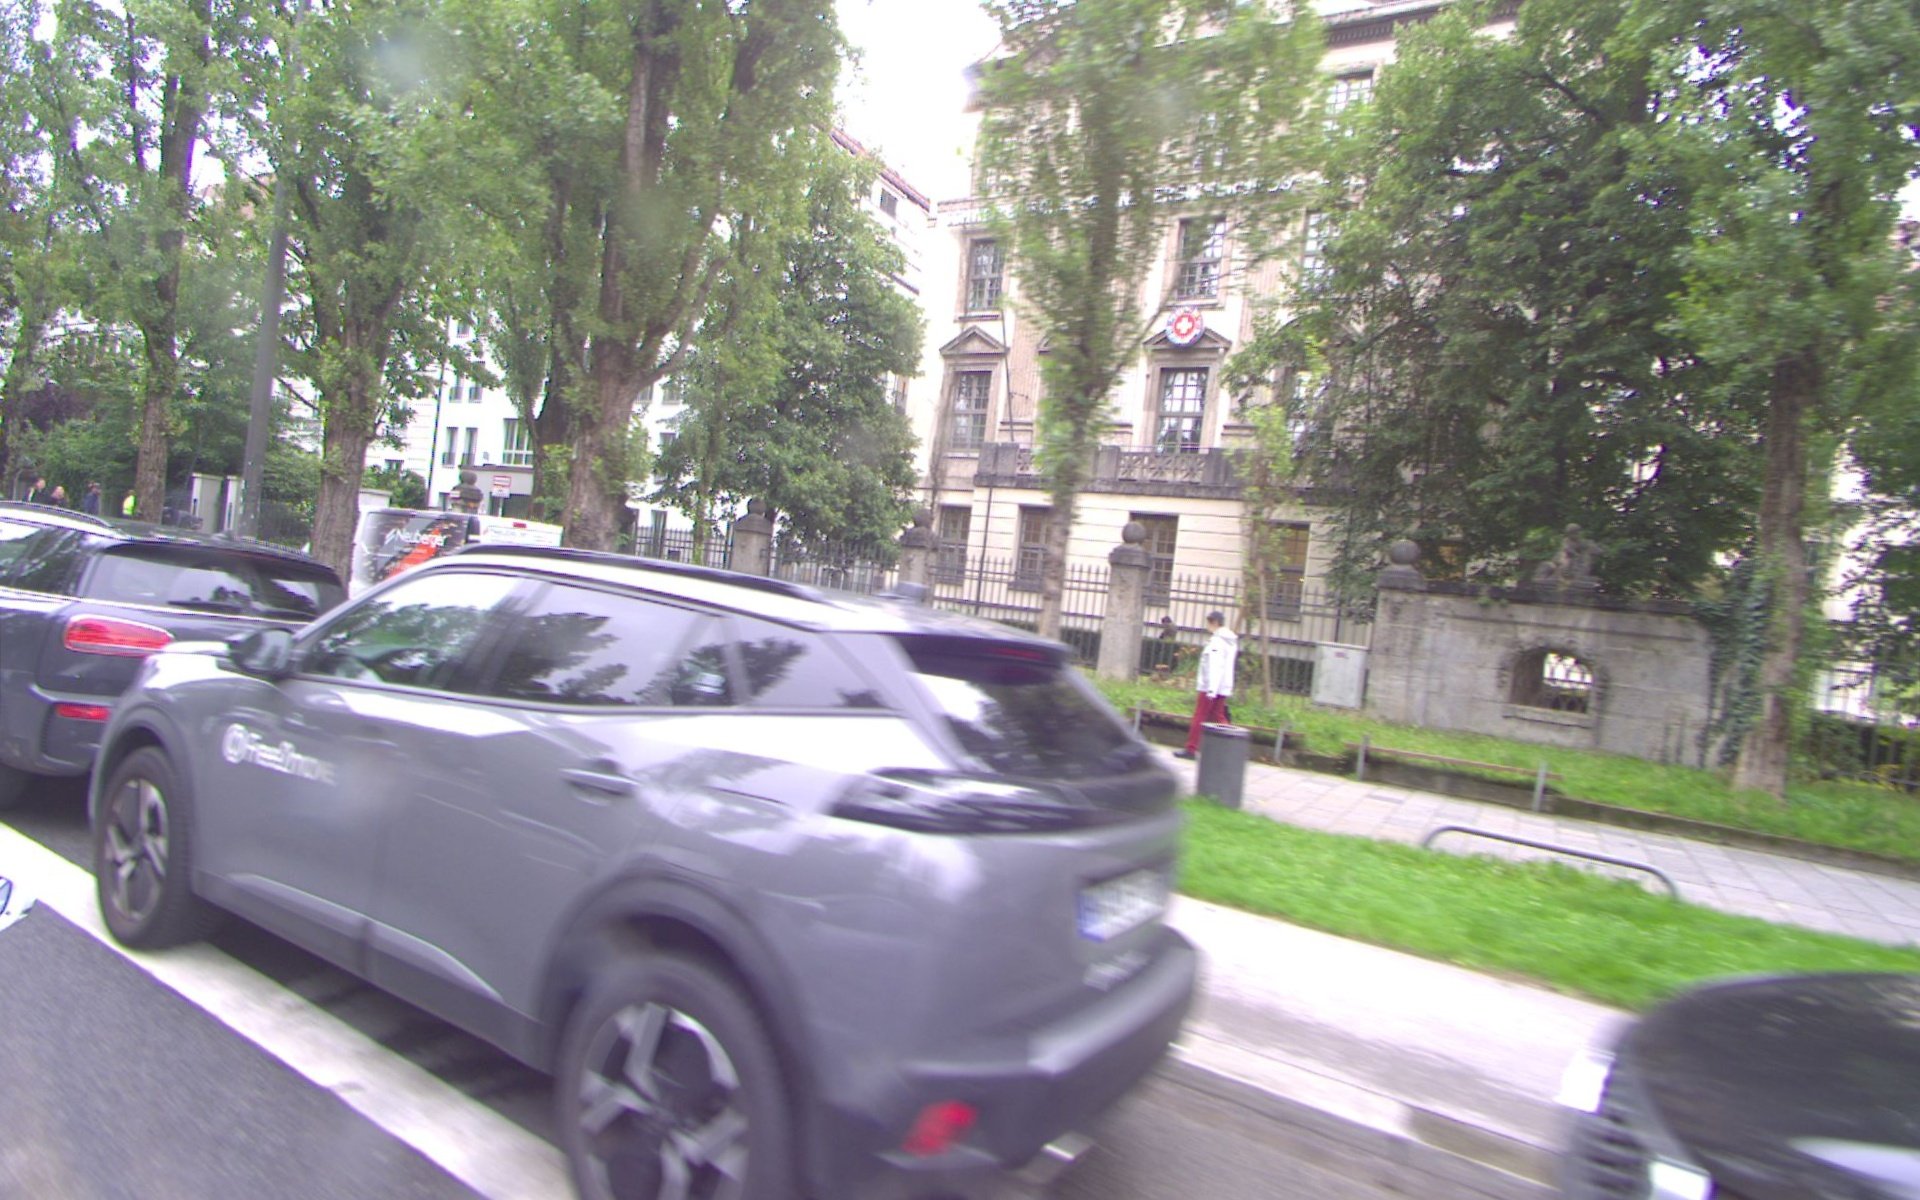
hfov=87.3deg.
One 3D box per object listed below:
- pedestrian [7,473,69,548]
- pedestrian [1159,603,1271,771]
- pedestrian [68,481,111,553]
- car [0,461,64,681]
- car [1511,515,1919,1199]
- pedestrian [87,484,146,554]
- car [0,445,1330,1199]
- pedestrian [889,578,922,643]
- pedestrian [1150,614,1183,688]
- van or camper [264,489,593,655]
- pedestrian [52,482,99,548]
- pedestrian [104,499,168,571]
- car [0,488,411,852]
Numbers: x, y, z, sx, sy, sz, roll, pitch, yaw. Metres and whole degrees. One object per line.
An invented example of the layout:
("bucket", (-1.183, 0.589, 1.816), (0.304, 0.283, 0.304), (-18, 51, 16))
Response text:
("pedestrian", (-23.230, -2.253, 25.347), (0.853, 1.739, 0.854), (7, 2, 30))
("pedestrian", (2.987, 1.001, 11.751), (0.880, 1.790, 0.796), (7, 1, 31))
("pedestrian", (-24.314, -2.309, 28.104), (0.626, 1.886, 0.488), (7, 1, 14))
("car", (-9.601, -0.492, 8.444), (4.503, 1.696, 1.745), (7, 0, 31))
("car", (3.011, 1.035, 0.811), (4.341, 1.669, 1.788), (7, 0, 29))
("pedestrian", (-23.520, -2.242, 28.060), (0.805, 1.804, 0.802), (7, 1, 14))
("car", (-1.329, 0.511, 3.550), (4.560, 1.638, 1.786), (7, 0, 31))
("pedestrian", (-1.652, 0.329, 30.499), (0.592, 1.886, 0.638), (7, 1, 22))
("pedestrian", (5.447, 1.355, 26.540), (0.495, 1.886, 0.637), (7, 1, 28))
("van or camper", (-8.561, -0.487, 16.056), (5.279, 1.956, 2.080), (7, -1, 31))
("pedestrian", (-22.891, -2.197, 26.023), (0.853, 1.598, 0.568), (7, 1, 31))
("pedestrian", (-22.879, -1.795, 27.940), (0.814, 1.823, 0.904), (9, 2, 10))
("car", (-5.424, 0.149, 6.061), (4.223, 1.538, 1.705), (7, 0, 31))
